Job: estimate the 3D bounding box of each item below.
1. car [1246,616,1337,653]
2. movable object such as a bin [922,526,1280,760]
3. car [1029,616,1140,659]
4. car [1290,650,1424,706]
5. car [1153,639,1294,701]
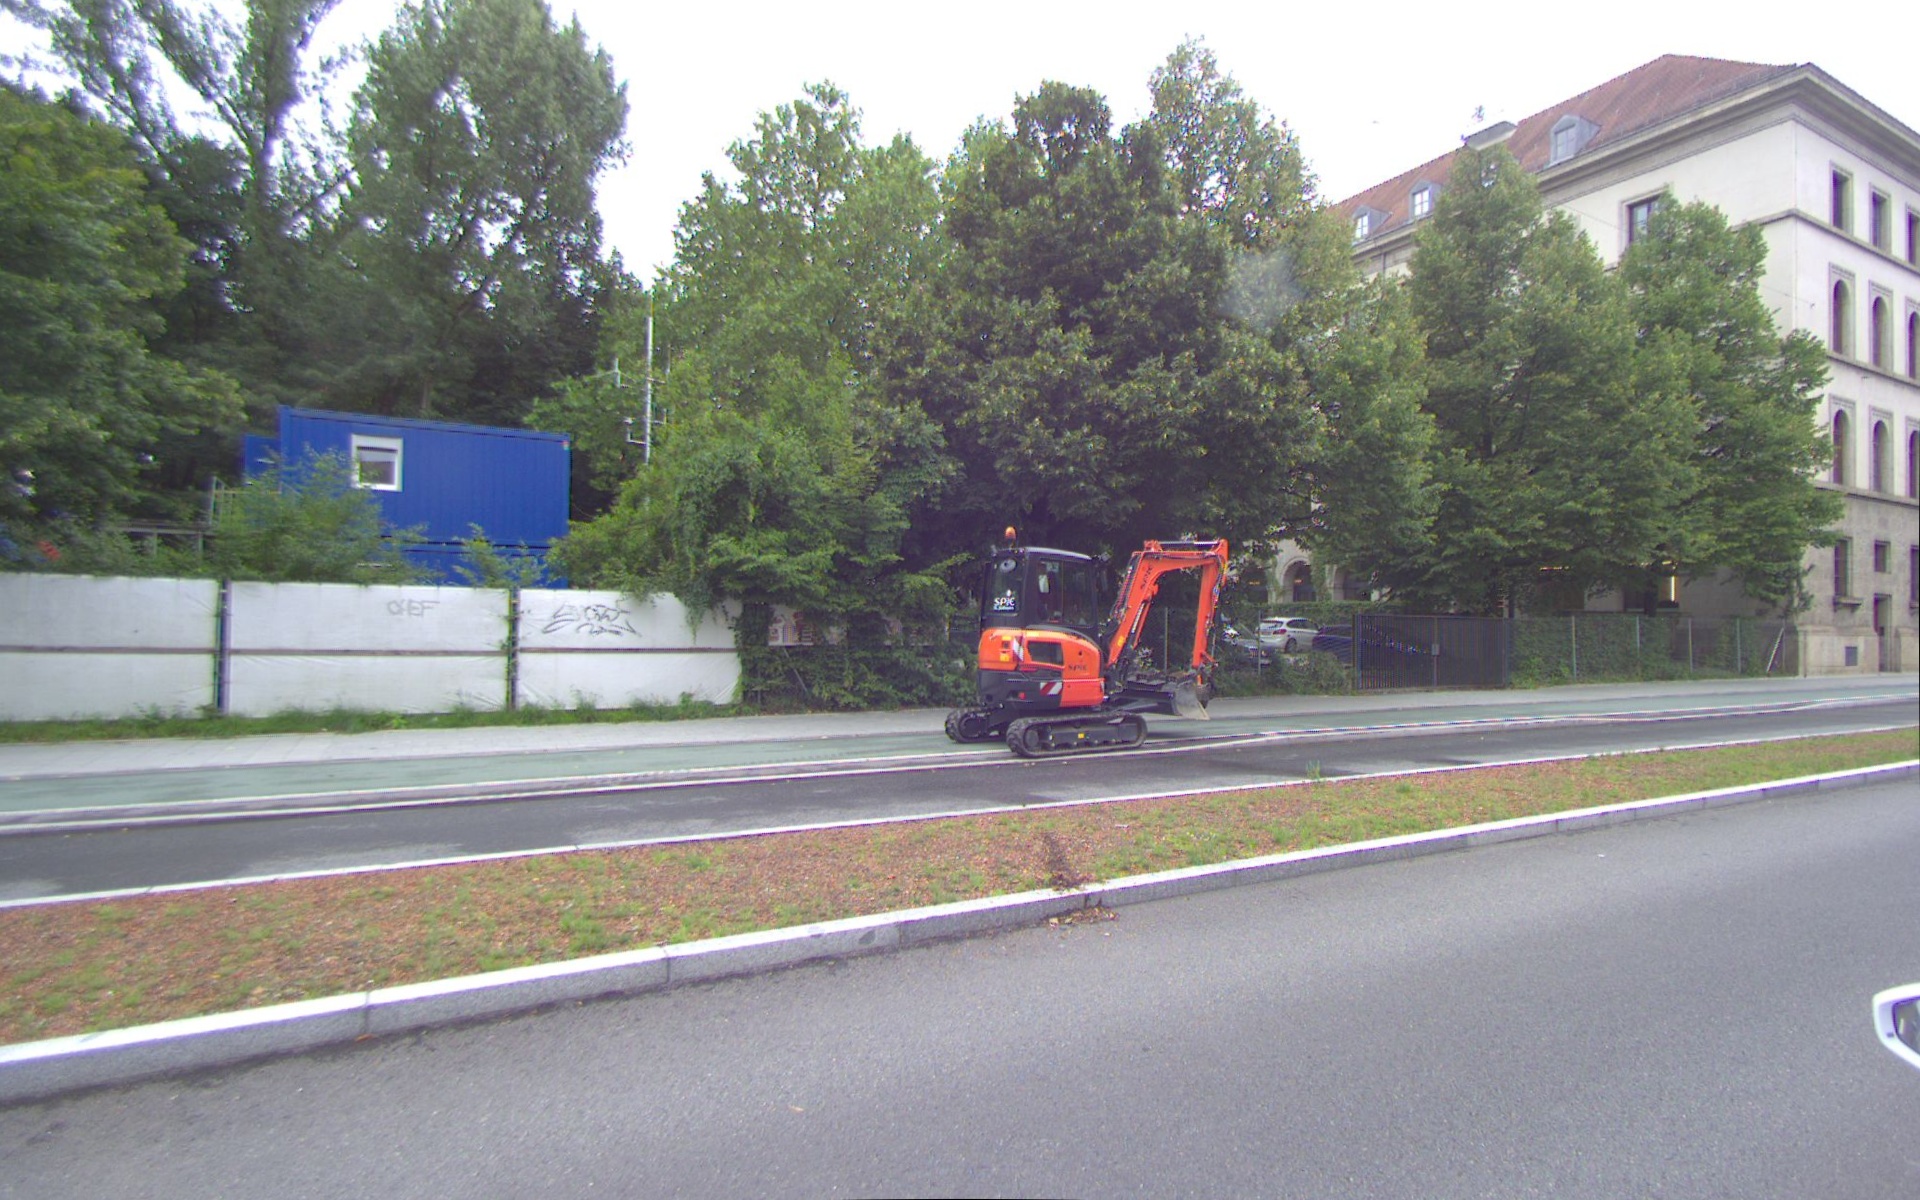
[{"bbox_3d":[14.966,1.519,45.310,3.895,1.566,1.821,1,0,-31],"label":"car"},{"bbox_3d":[1.970,0.554,13.574,4.613,2.676,1.983,1,-2,-32],"label":"movable object such as a bin"},{"bbox_3d":[4.924,1.443,39.554,4.130,1.566,1.821,1,0,-31],"label":"car"},{"bbox_3d":[13.174,2.539,33.549,1.815,1.566,3.908,1,0,-31],"label":"car"},{"bbox_3d":[7.730,2.022,29.771,1.815,1.566,3.908,1,0,-31],"label":"car"}]
